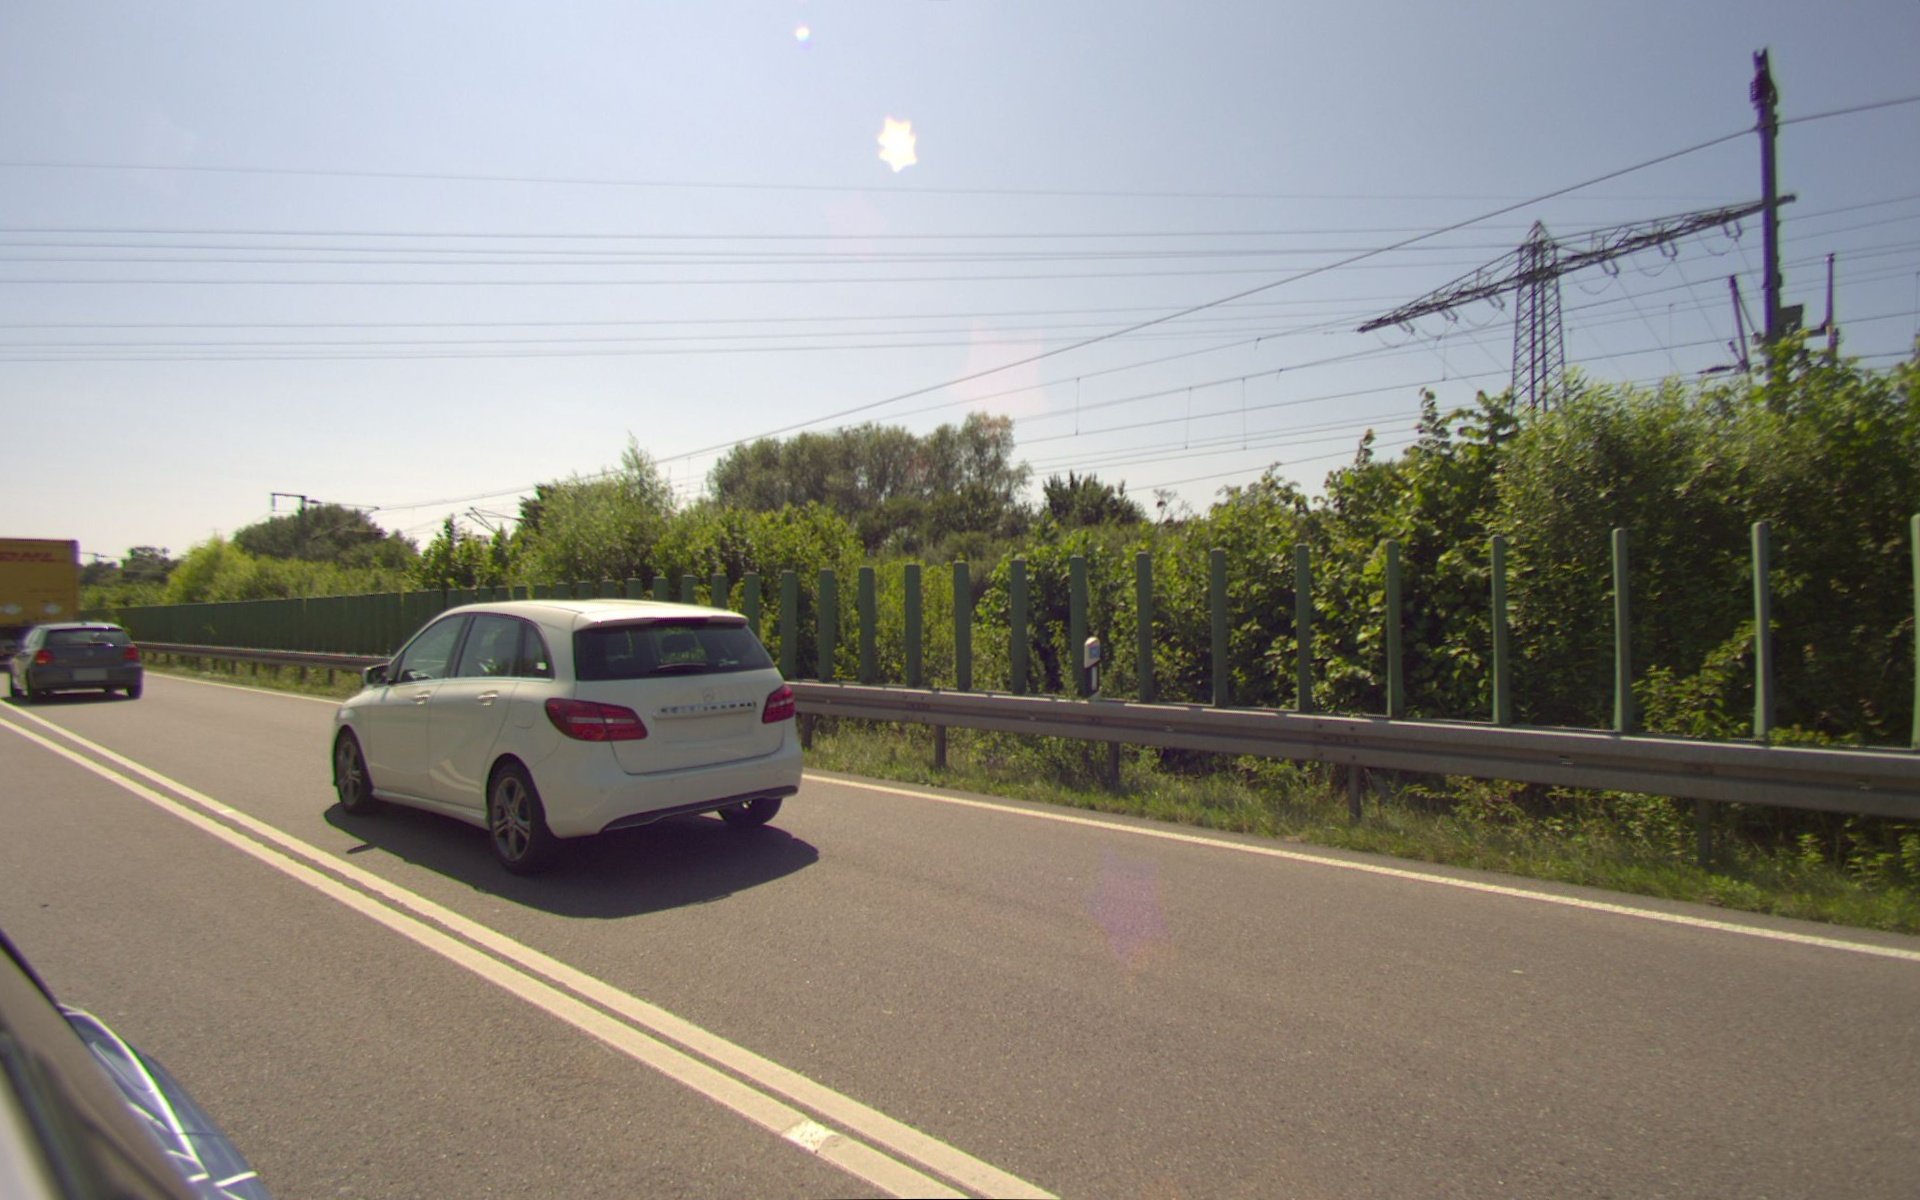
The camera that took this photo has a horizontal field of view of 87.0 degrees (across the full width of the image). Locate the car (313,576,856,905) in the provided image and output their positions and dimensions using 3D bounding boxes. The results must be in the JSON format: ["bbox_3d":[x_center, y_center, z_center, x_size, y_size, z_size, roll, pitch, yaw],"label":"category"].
[{"bbox_3d":[-2.852,0.733,7.108,4.322,1.617,1.805,-2,-1,42],"label":"car"}]

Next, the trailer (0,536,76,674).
[{"bbox_3d":[-32.258,0.241,34.149,9.224,4.176,2.521,-1,-1,42],"label":"trailer"}]

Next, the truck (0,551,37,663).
[{"bbox_3d":[-39.642,0.359,40.771,10.600,4.160,2.521,-1,-1,42],"label":"truck"}]

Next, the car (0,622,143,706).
[{"bbox_3d":[-17.230,1.168,19.577,3.792,1.452,1.597,-1,-1,41],"label":"car"}]
